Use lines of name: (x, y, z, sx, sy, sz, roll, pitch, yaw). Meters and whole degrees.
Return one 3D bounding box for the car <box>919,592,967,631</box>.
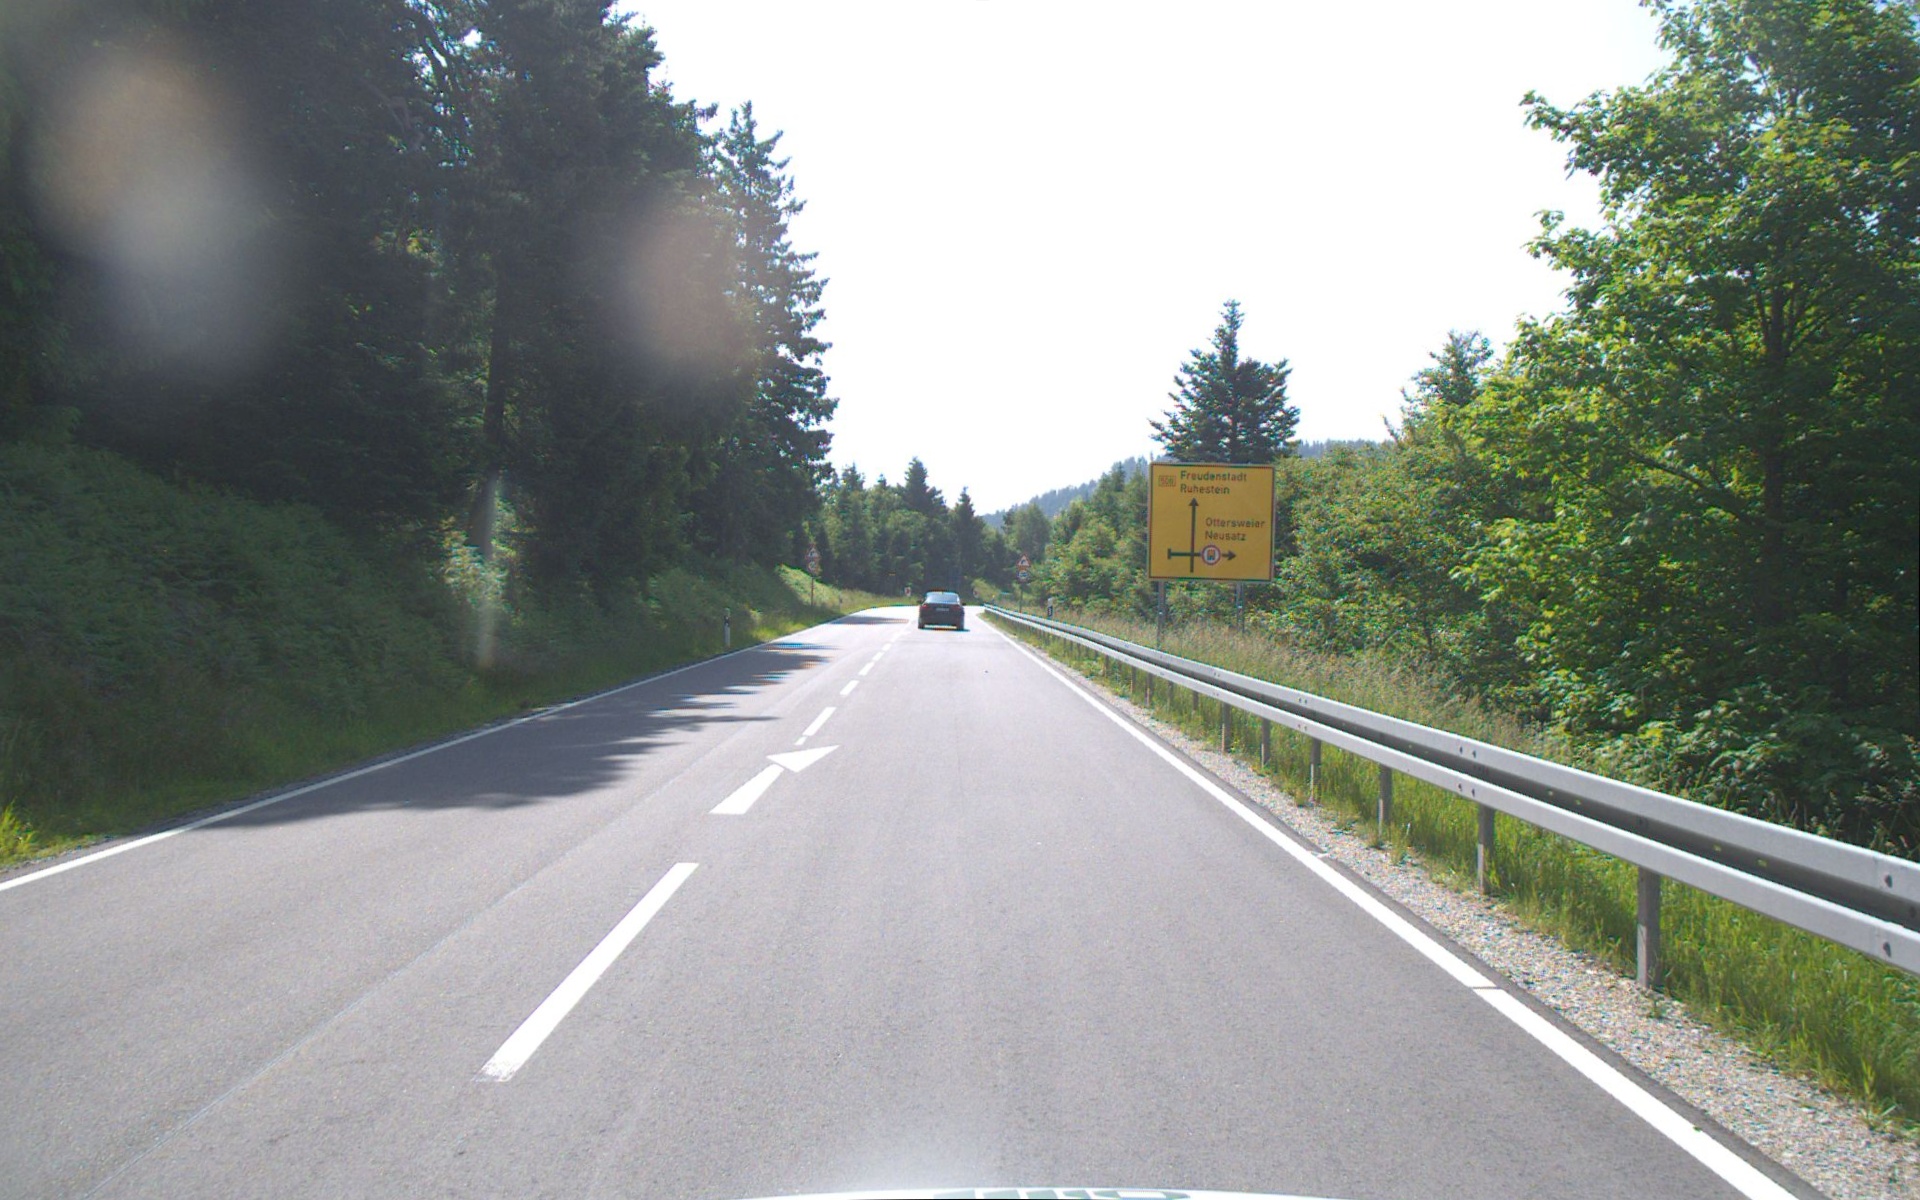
car: (-0.637, 0.440, 64.305, 1.739, 1.467, 3.709, 1, 0, 1)
